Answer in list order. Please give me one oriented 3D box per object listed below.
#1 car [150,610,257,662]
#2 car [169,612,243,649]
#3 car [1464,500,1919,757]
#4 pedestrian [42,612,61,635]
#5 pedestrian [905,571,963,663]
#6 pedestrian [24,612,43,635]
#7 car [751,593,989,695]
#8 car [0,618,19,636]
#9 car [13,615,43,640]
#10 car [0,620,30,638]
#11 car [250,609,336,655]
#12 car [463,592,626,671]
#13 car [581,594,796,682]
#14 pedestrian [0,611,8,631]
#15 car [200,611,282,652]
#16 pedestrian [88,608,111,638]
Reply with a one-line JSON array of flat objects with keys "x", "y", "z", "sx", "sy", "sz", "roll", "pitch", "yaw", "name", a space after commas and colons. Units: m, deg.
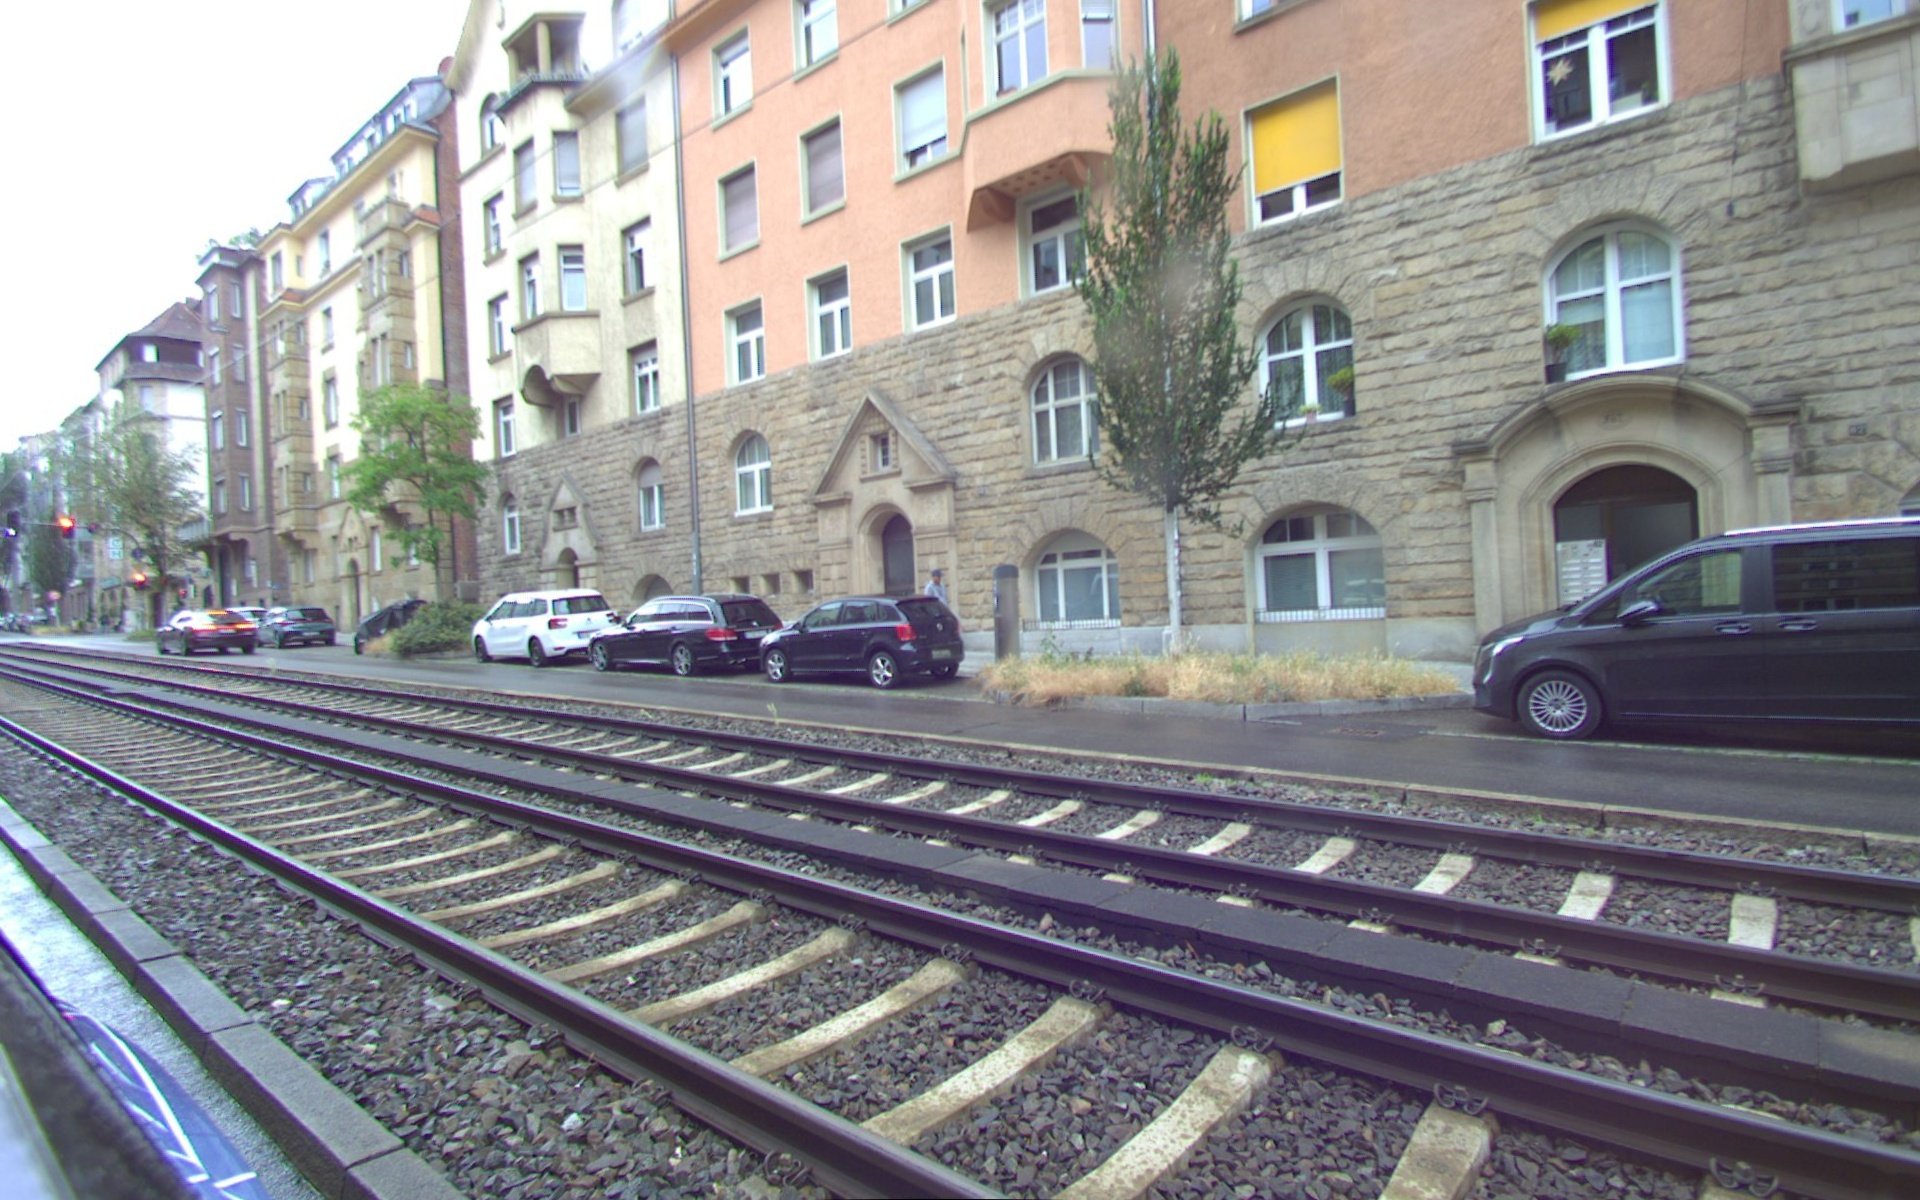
[{"x": -24.684, "y": 1.128, "z": 32.958, "sx": 4.962, "sy": 1.535, "sz": 1.784, "roll": -1, "pitch": 0, "yaw": 41, "name": "car"}, {"x": -32.139, "y": 1.265, "z": 43.083, "sx": 3.843, "sy": 1.452, "sz": 1.748, "roll": -1, "pitch": 0, "yaw": 41, "name": "car"}, {"x": 7.354, "y": 0.214, "z": 8.983, "sx": 4.823, "sy": 1.956, "sz": 1.973, "roll": -1, "pitch": 0, "yaw": 41, "name": "car"}, {"x": -78.345, "y": 2.002, "z": 87.272, "sx": 1.163, "sy": 1.972, "sz": 1.042, "roll": -1, "pitch": 0, "yaw": 43, "name": "pedestrian"}, {"x": -0.488, "y": 0.309, "z": 19.112, "sx": 0.765, "sy": 1.654, "sz": 0.692, "roll": -1, "pitch": 2, "yaw": 41, "name": "pedestrian"}, {"x": -79.102, "y": 2.010, "z": 86.379, "sx": 1.163, "sy": 1.972, "sz": 1.042, "roll": -1, "pitch": 0, "yaw": 43, "name": "pedestrian"}, {"x": -1.549, "y": 0.668, "z": 16.917, "sx": 3.638, "sy": 1.508, "sz": 1.912, "roll": -1, "pitch": 0, "yaw": 38, "name": "car"}, {"x": -80.917, "y": 2.289, "z": 85.405, "sx": 3.843, "sy": 1.527, "sz": 1.748, "roll": -1, "pitch": 0, "yaw": 41, "name": "car"}, {"x": -69.040, "y": 1.993, "z": 74.968, "sx": 1.561, "sy": 1.691, "sz": 3.794, "roll": -2, "pitch": 2, "yaw": -43, "name": "car"}, {"x": -74.289, "y": 2.281, "z": 79.332, "sx": 3.843, "sy": 1.321, "sz": 1.563, "roll": -1, "pitch": 0, "yaw": 41, "name": "car"}, {"x": -23.679, "y": 1.095, "z": 35.858, "sx": 3.845, "sy": 1.452, "sz": 1.656, "roll": -1, "pitch": 1, "yaw": 43, "name": "car"}, {"x": -9.739, "y": 0.701, "z": 23.611, "sx": 4.144, "sy": 1.668, "sz": 1.843, "roll": -1, "pitch": 0, "yaw": 41, "name": "car"}, {"x": -5.431, "y": 0.696, "z": 19.938, "sx": 4.599, "sy": 1.506, "sz": 1.824, "roll": -1, "pitch": 0, "yaw": 41, "name": "car"}, {"x": -99.784, "y": 2.184, "z": 105.001, "sx": 1.379, "sy": 1.972, "sz": 1.362, "roll": -1, "pitch": 0, "yaw": 43, "name": "pedestrian"}, {"x": -28.281, "y": 1.211, "z": 39.761, "sx": 4.030, "sy": 1.452, "sz": 1.748, "roll": -1, "pitch": 1, "yaw": 42, "name": "car"}, {"x": -58.704, "y": 1.574, "z": 69.061, "sx": 1.163, "sy": 1.972, "sz": 1.042, "roll": -1, "pitch": 0, "yaw": 43, "name": "pedestrian"}]
